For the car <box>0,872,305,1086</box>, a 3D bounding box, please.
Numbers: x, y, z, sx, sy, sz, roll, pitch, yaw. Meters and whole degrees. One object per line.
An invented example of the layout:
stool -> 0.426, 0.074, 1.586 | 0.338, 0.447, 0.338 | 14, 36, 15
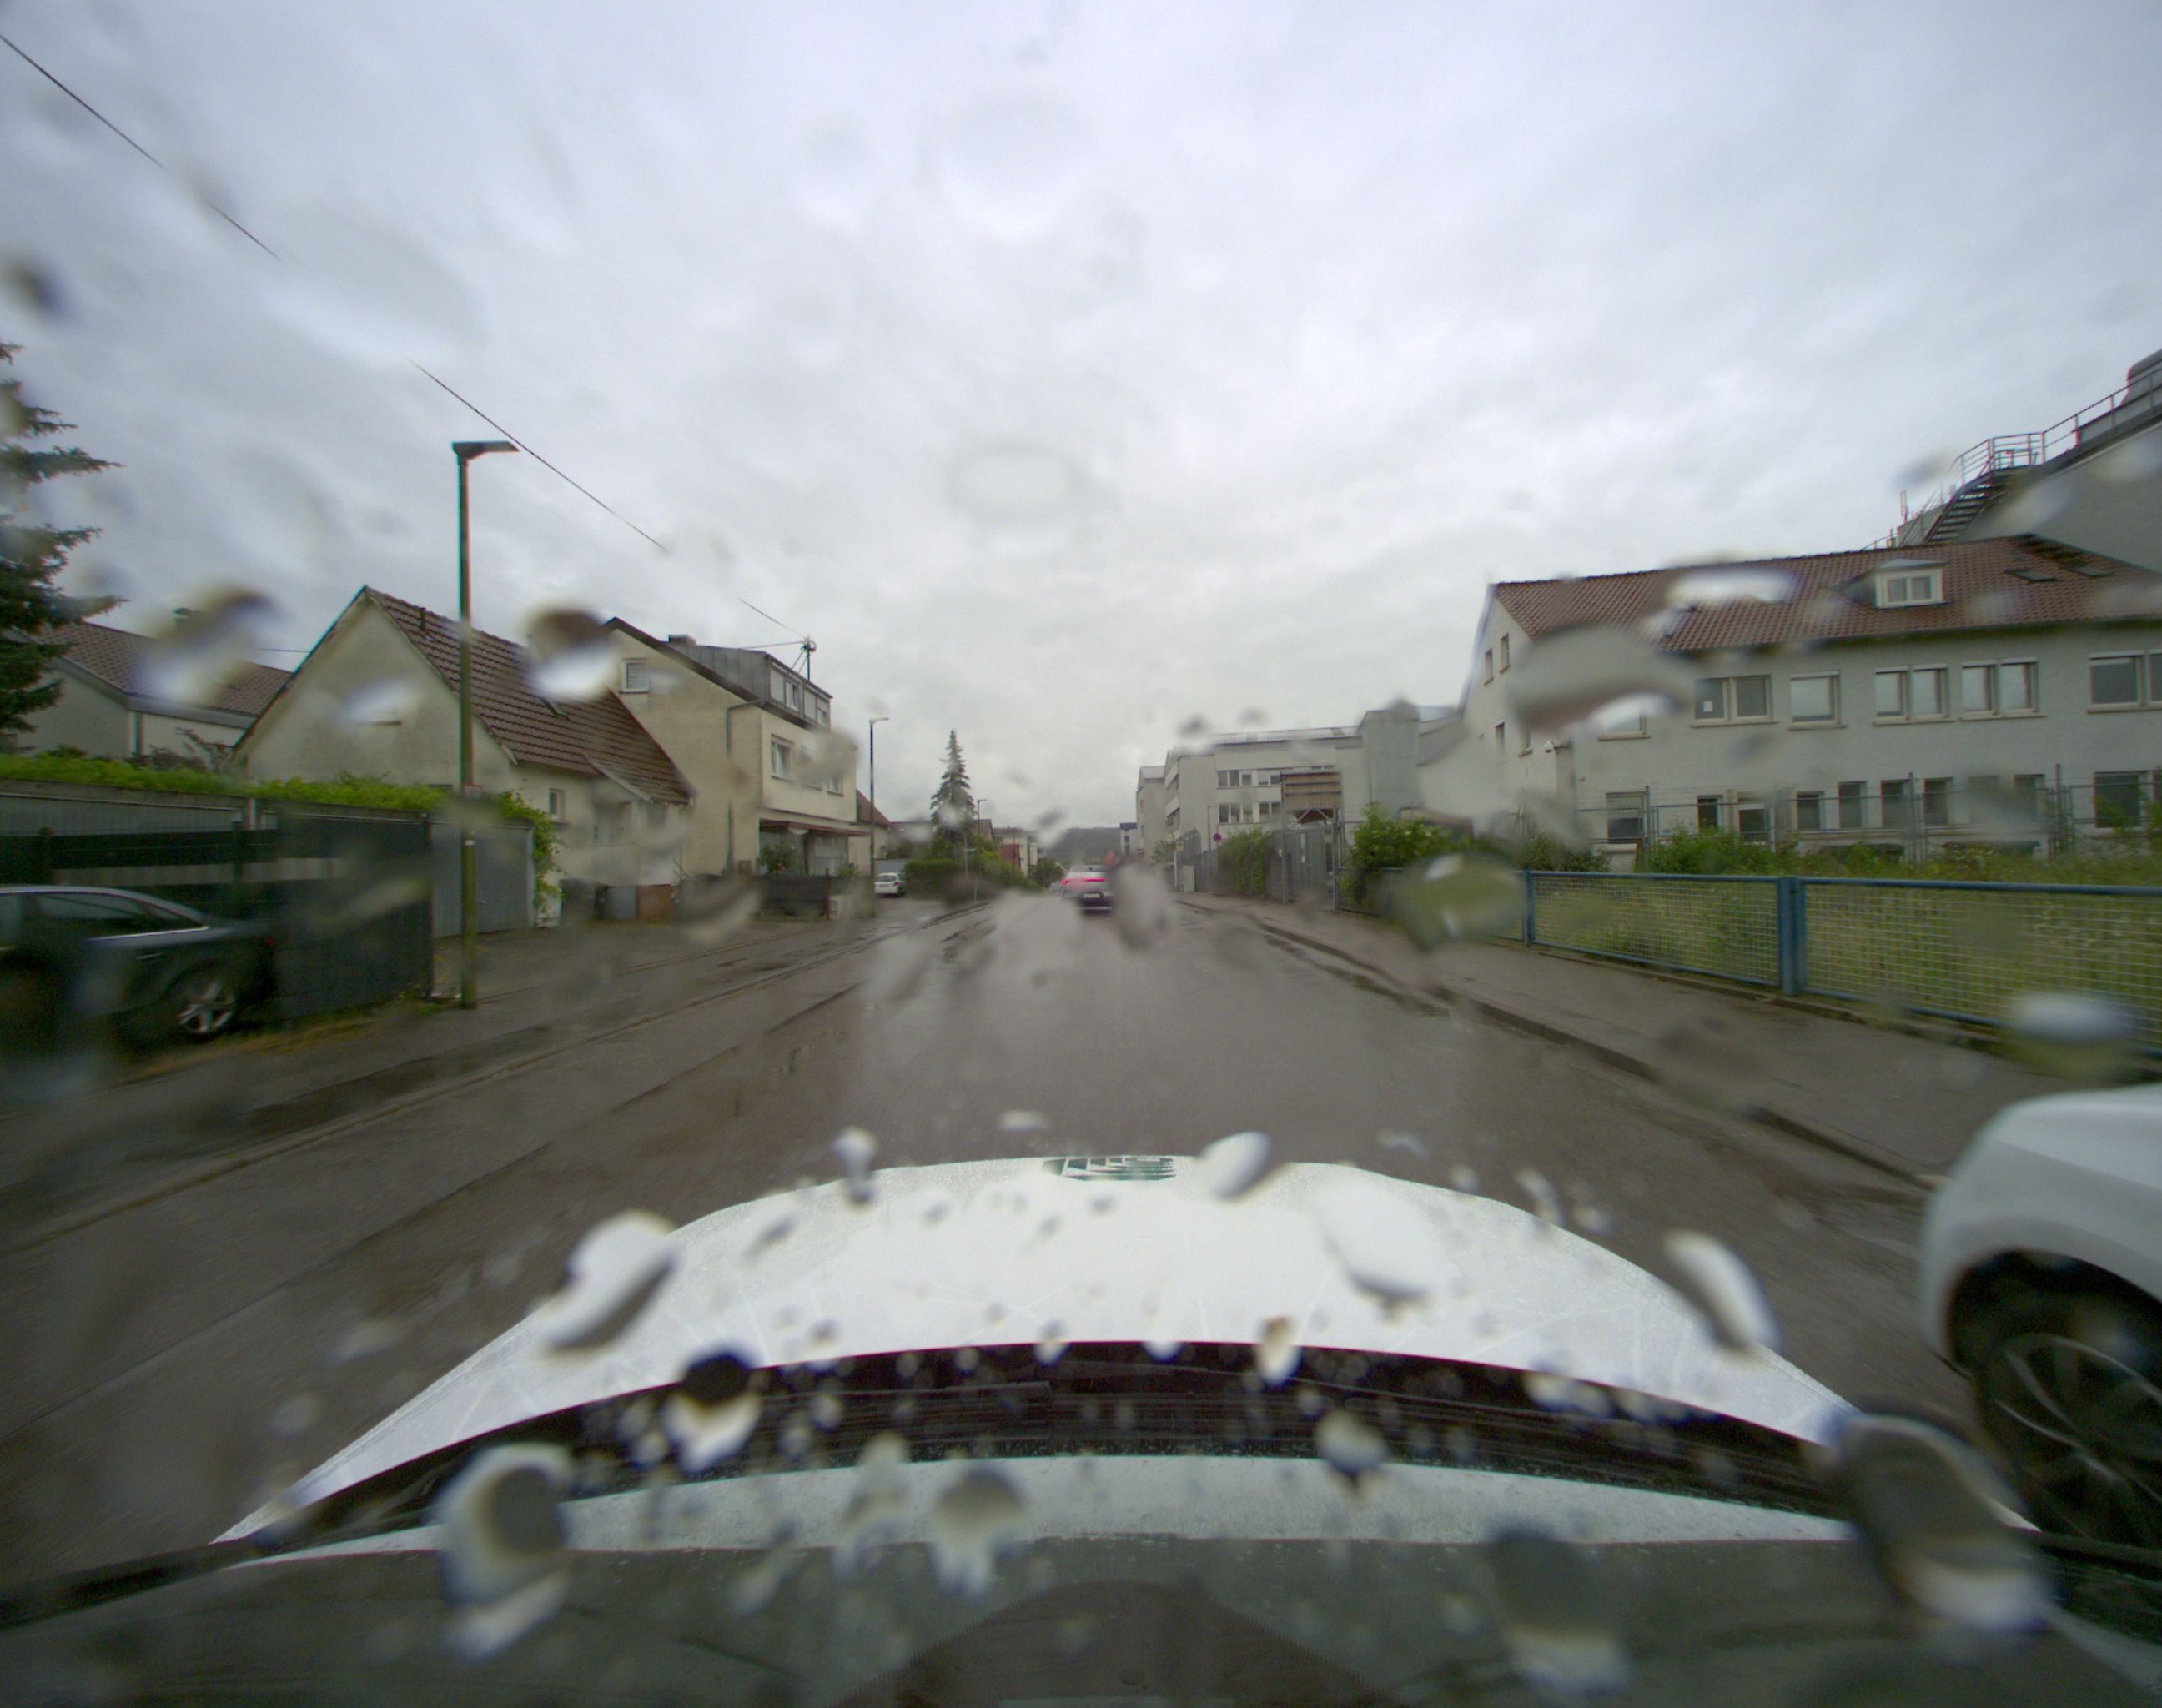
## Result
car -> -8.368, 0.890, 5.557 | 1.822, 1.368, 4.565 | 2, 0, -2

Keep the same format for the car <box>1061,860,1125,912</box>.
car -> 0.418, 1.013, 27.570 | 1.986, 1.502, 4.671 | -1, 0, 1

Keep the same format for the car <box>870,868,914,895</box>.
car -> -12.055, 1.738, 52.149 | 1.788, 1.508, 4.000 | -1, 0, 0

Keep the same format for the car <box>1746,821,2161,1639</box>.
car -> 2.892, 0.713, 0.689 | 1.676, 1.557, 3.674 | 0, 0, 0

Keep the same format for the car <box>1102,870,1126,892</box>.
car -> 3.307, 2.700, 81.816 | 1.989, 2.014, 3.994 | -2, -4, -3

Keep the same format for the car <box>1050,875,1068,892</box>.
car -> -2.144, 2.890, 79.766 | 1.670, 1.528, 3.998 | -1, -2, 0
